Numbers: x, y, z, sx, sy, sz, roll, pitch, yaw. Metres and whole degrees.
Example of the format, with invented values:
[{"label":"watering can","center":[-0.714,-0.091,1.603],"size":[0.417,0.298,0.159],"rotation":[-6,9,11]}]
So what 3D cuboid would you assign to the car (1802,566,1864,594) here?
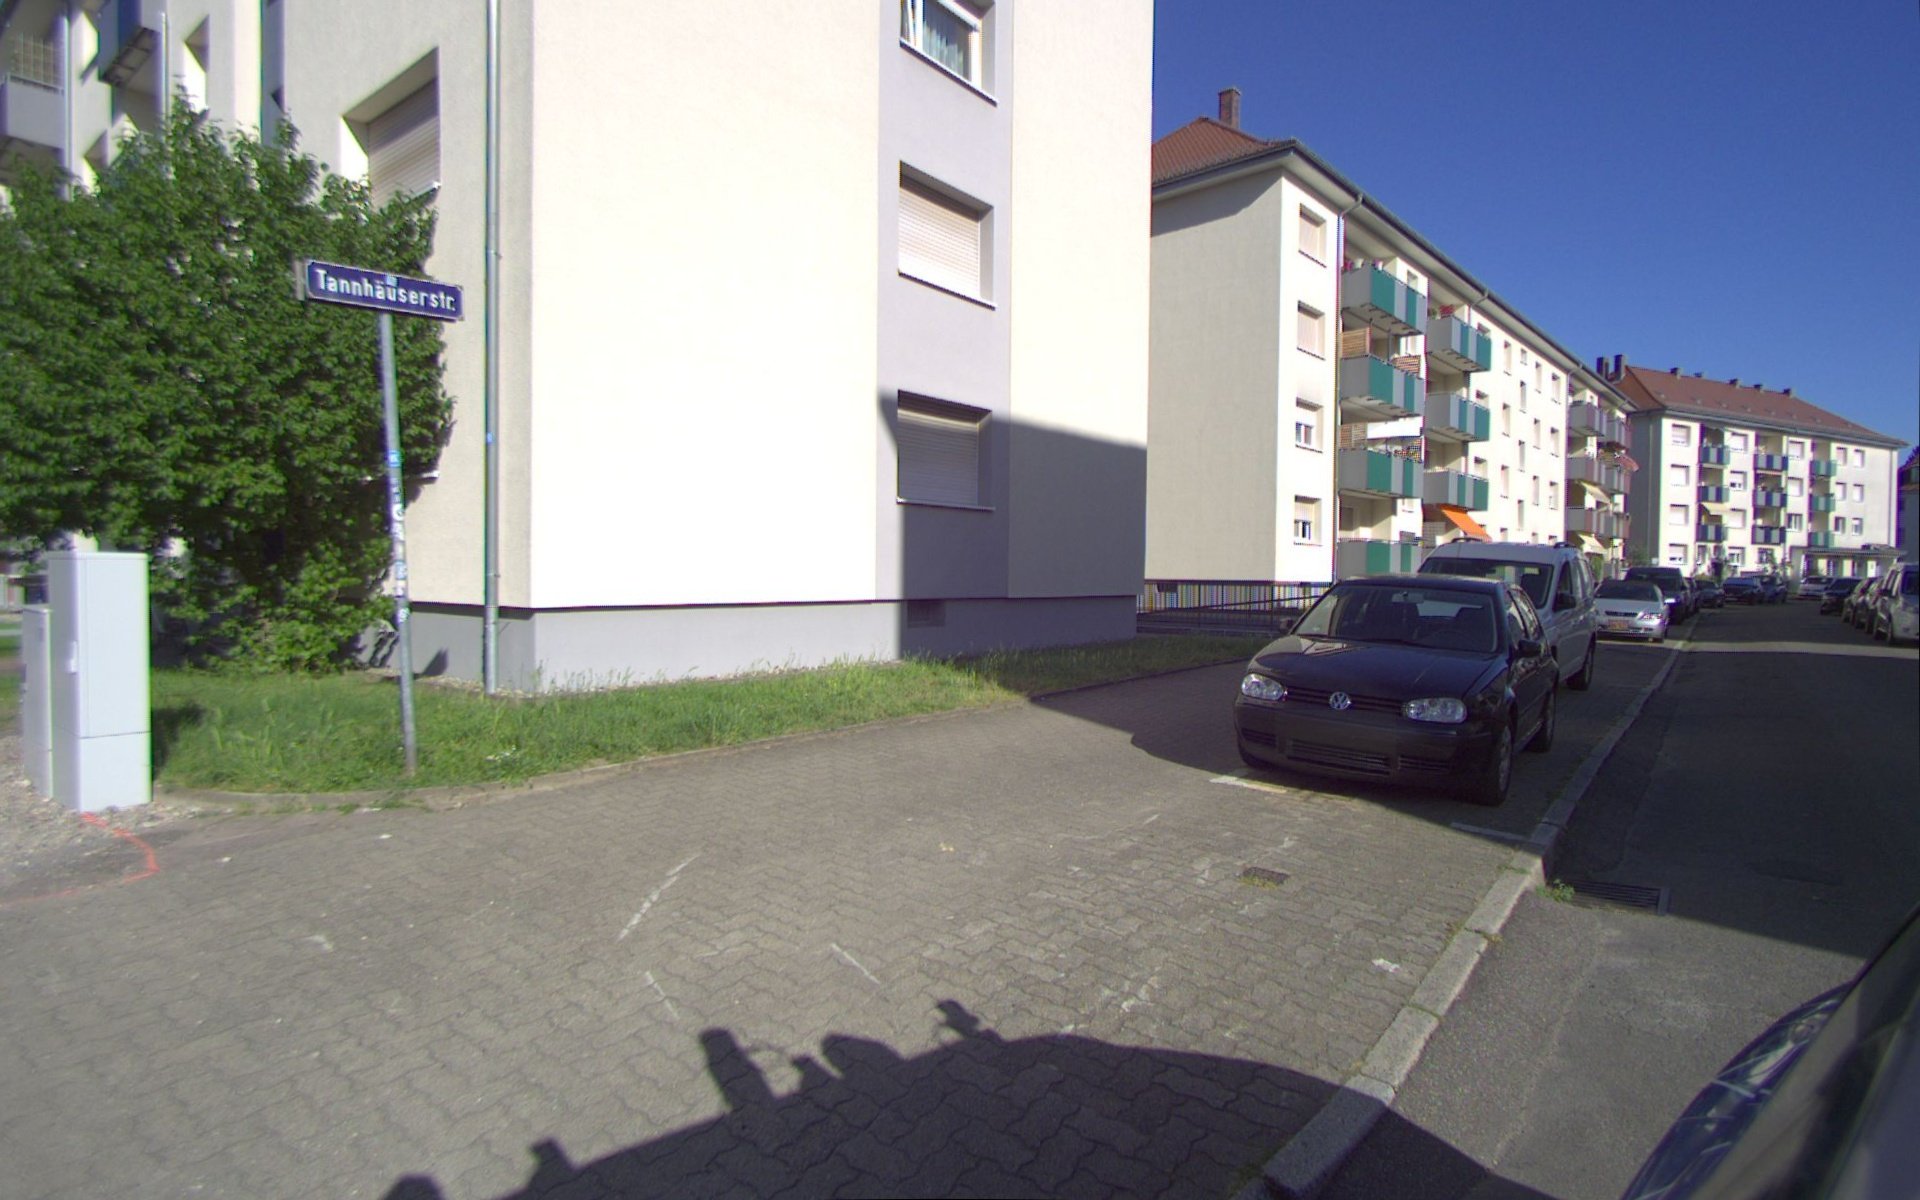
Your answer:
[{"label":"car","center":[56.379,-1.298,65.342],"size":[4.319,1.654,1.761],"rotation":[0,3,-32]}]

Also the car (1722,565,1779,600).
[{"label":"car","center":[42.390,-0.952,54.247],"size":[4.165,1.783,1.581],"rotation":[-1,4,-41]}]

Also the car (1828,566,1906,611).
[{"label":"car","center":[33.839,-0.477,37.858],"size":[1.898,1.476,4.334],"rotation":[5,5,39]}]

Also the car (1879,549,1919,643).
[{"label":"car","center":[21.133,-0.088,21.590],"size":[1.797,1.852,4.881],"rotation":[5,4,38]}]

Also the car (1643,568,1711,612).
[{"label":"car","center":[26.176,-0.411,36.900],"size":[1.638,1.477,3.804],"rotation":[4,4,40]}]

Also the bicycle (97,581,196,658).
[{"label":"bicycle","center":[-11.409,0.237,14.163],"size":[2.269,0.972,0.480],"rotation":[2,3,36]}]

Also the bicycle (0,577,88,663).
[{"label":"bicycle","center":[-12.157,0.228,13.336],"size":[2.269,1.024,0.480],"rotation":[2,3,36]}]

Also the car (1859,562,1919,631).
[{"label":"car","center":[24.717,-0.108,26.222],"size":[1.670,1.609,4.109],"rotation":[6,5,37]}]

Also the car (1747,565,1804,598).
[{"label":"car","center":[46.663,-1.062,57.907],"size":[3.929,1.757,1.756],"rotation":[-1,-2,-40]}]

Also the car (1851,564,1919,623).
[{"label":"car","center":[27.416,-0.222,29.667],"size":[1.642,1.537,3.652],"rotation":[6,5,38]}]

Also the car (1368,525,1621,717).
[{"label":"car","center":[6.681,0.115,12.389],"size":[1.796,1.868,4.475],"rotation":[5,5,39]}]

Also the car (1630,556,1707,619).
[{"label":"car","center":[23.183,-0.467,33.033],"size":[1.756,1.862,4.853],"rotation":[4,4,38]}]

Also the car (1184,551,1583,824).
[{"label":"car","center":[3.417,0.404,7.697],"size":[1.794,1.432,3.995],"rotation":[5,4,37]}]

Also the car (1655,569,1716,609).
[{"label":"car","center":[29.214,-0.488,40.714],"size":[1.662,1.466,3.804],"rotation":[4,4,40]}]

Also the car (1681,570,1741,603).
[{"label":"car","center":[35.171,-0.673,47.343],"size":[1.675,1.436,3.798],"rotation":[4,4,45]}]

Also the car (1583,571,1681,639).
[{"label":"car","center":[16.433,0.055,24.673],"size":[1.738,1.423,4.258],"rotation":[4,4,36]}]
